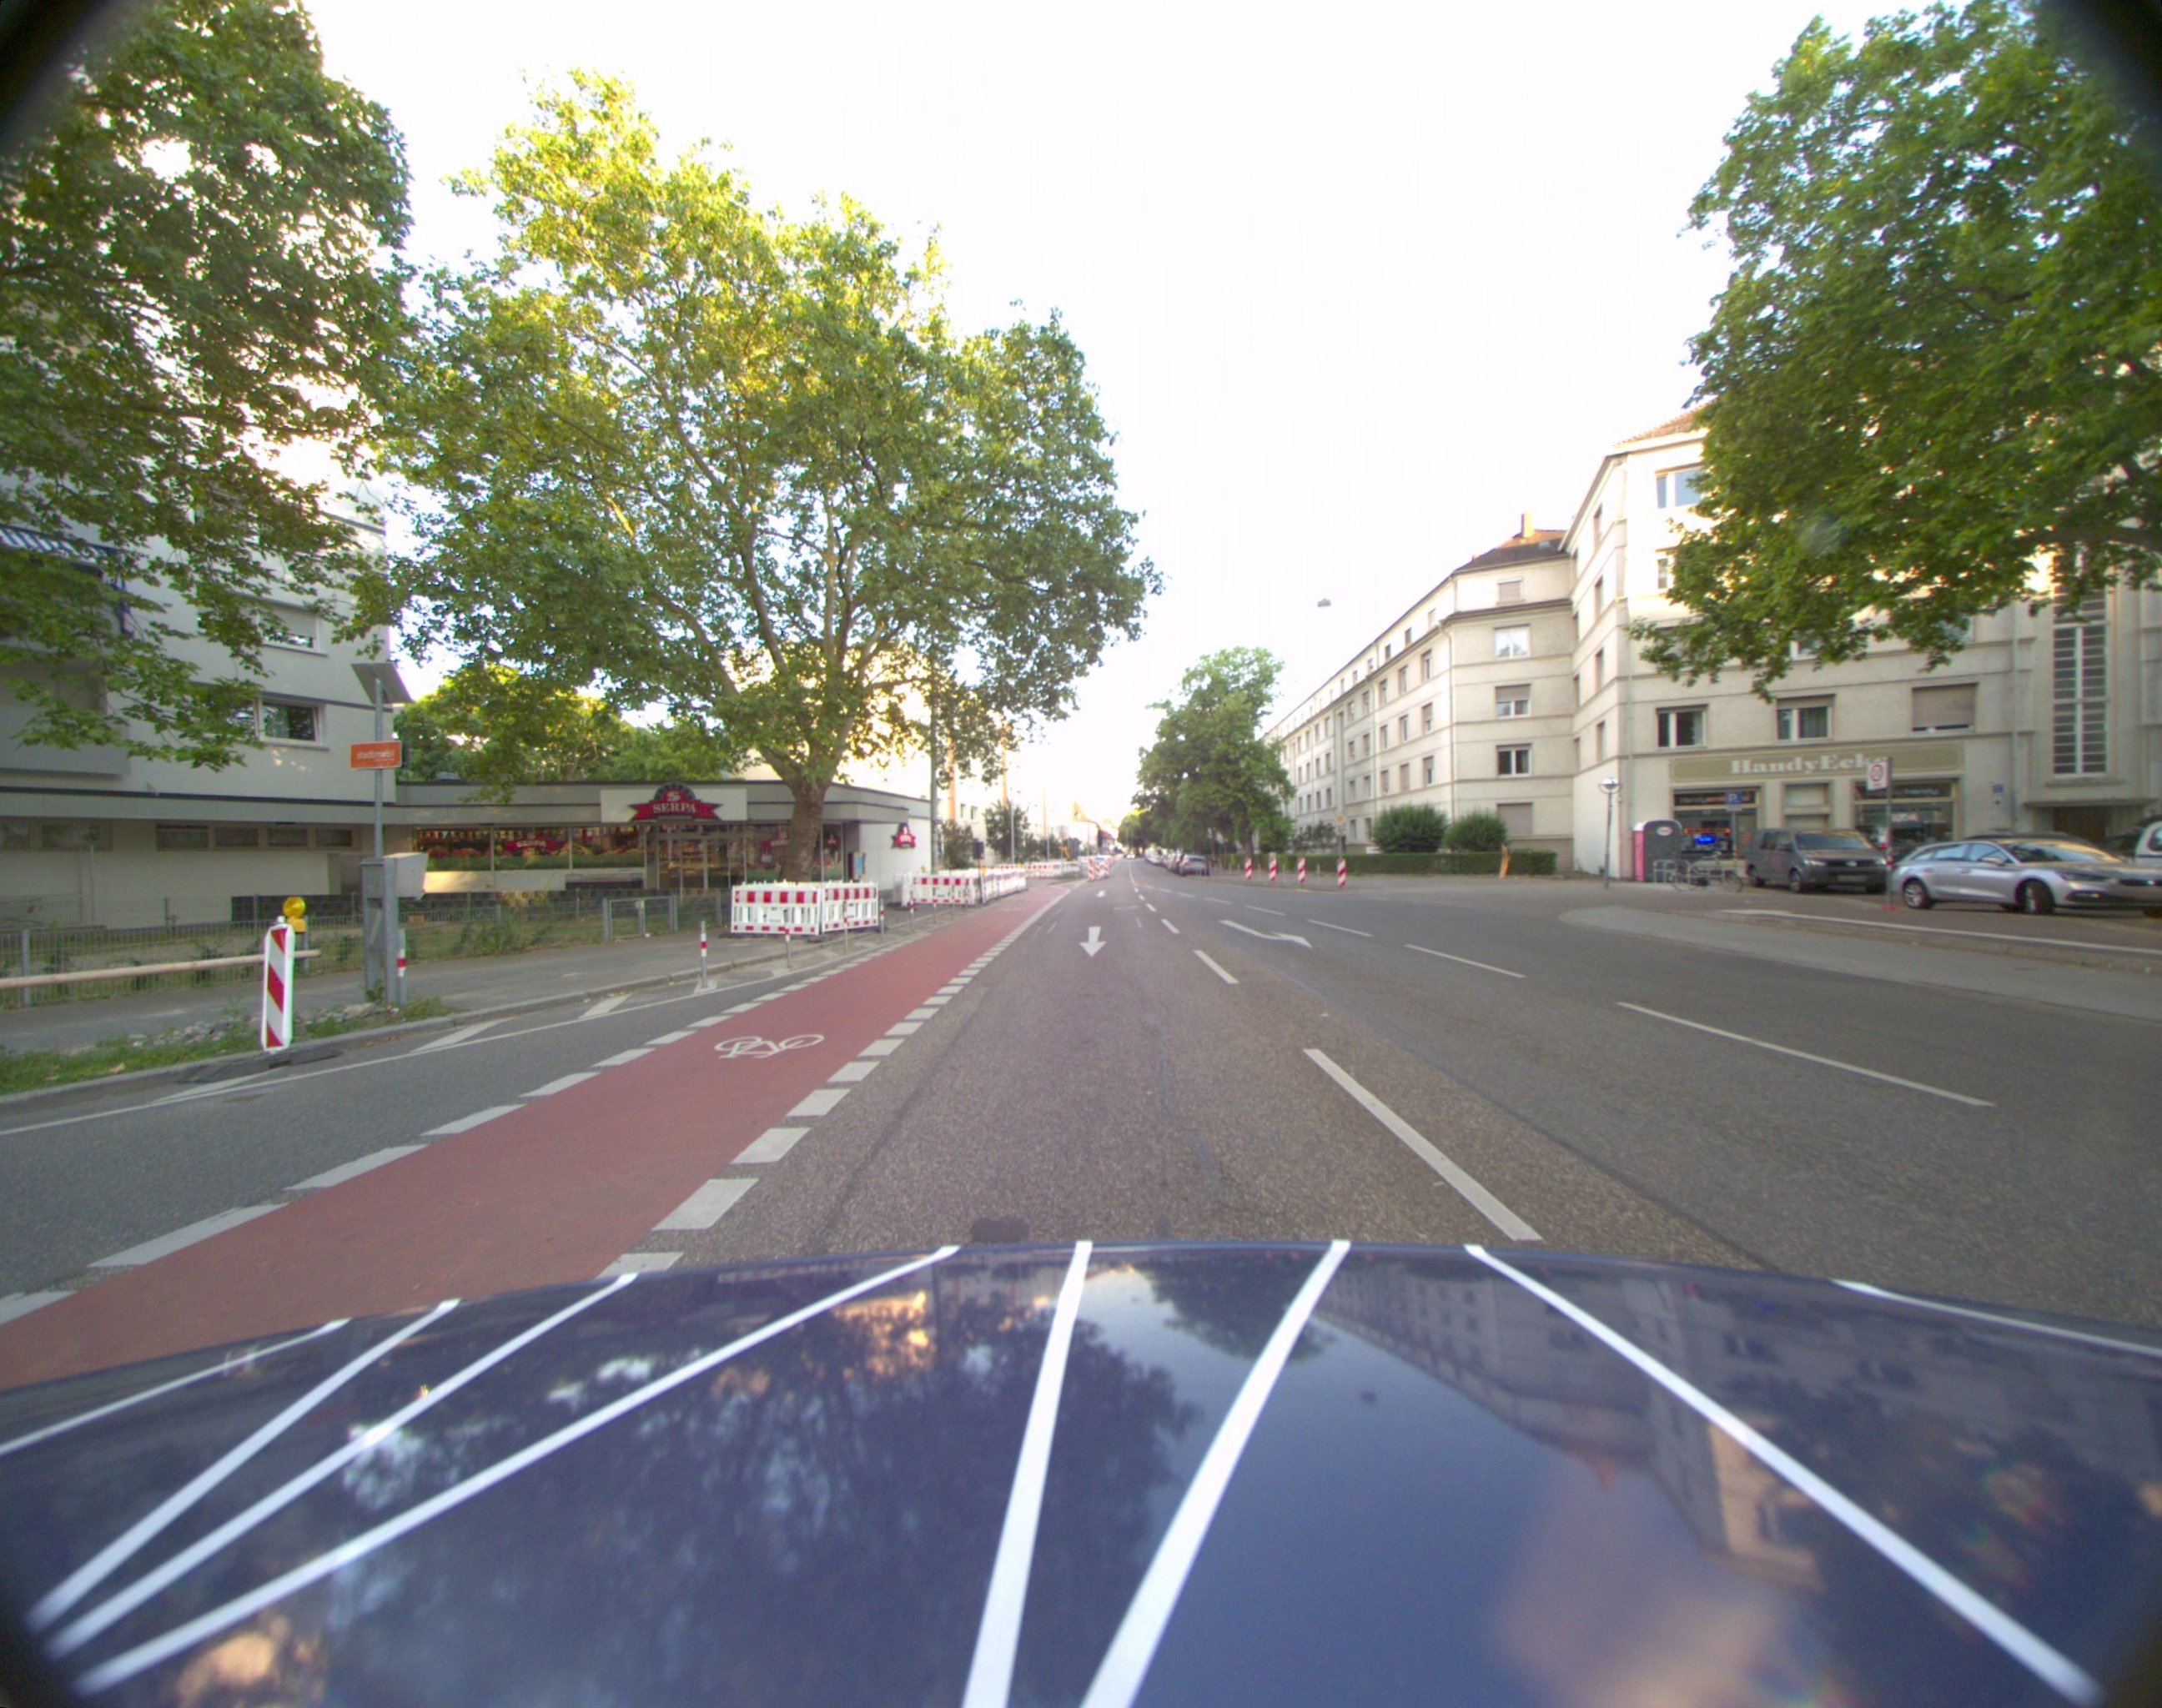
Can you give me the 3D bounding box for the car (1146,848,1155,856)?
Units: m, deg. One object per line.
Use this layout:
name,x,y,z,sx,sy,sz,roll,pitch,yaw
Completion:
car,15.198,-0.475,166.084,1.892,1.591,4.260,-2,1,6

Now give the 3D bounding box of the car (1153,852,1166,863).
car,12.118,0.488,117.878,1.892,1.591,4.260,-2,1,6

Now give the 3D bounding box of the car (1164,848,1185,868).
car,9.278,0.347,75.414,1.892,1.764,4.260,-2,1,6

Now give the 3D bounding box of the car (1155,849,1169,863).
car,11.548,0.322,108.206,1.892,1.855,4.260,-2,1,6

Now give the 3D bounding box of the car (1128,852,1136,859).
car,14.094,0.322,209.117,1.998,1.838,4.000,-2,1,2

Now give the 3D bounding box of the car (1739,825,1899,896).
car,22.610,0.095,23.558,1.995,1.945,4.646,0,3,23

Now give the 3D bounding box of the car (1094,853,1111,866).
car,2.883,0.753,101.039,1.892,1.591,4.260,-2,1,6

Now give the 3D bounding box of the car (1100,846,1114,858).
car,4.183,-0.348,121.839,1.892,1.651,4.260,-2,1,6

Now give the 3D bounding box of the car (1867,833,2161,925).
car,18.130,0.441,14.676,1.996,1.494,4.647,0,-1,15

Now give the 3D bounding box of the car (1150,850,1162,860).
car,13.134,0.160,132.800,1.892,1.591,4.260,-2,1,6

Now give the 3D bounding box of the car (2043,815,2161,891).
car,29.614,-0.081,20.832,1.995,1.945,4.646,0,3,23

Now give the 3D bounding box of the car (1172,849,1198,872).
car,8.487,0.526,62.194,1.892,1.681,4.260,-2,1,6

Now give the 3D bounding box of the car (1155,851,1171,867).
car,10.697,0.648,99.241,1.892,1.815,4.260,-2,1,6

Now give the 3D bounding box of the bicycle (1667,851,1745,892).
bicycle,19.399,0.542,23.616,1.802,1.199,0.648,-1,2,33

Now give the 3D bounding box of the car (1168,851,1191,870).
car,9.007,0.559,69.468,1.892,1.591,4.260,-2,1,6

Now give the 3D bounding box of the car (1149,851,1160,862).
car,13.848,0.477,143.083,1.892,1.868,4.946,-2,1,6

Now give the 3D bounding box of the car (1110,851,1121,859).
car,7.163,0.210,156.226,1.892,1.591,4.260,-2,1,6

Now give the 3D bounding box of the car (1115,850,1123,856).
car,9.768,-0.288,196.472,1.892,1.591,4.260,-2,1,6

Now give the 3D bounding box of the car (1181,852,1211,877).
car,8.117,0.728,53.905,1.892,1.591,4.001,-2,1,6

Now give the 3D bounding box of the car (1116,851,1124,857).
car,10.572,0.049,205.507,1.892,1.591,4.260,-2,1,6

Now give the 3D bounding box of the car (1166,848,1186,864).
car,10.116,0.173,80.936,1.892,1.591,4.260,-2,1,6

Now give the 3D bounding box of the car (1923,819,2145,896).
car,27.116,-0.006,21.920,1.995,1.945,4.646,0,3,23

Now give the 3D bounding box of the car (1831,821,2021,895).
car,24.965,0.012,22.736,1.995,1.945,4.646,0,3,23

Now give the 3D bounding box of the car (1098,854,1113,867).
car,3.694,0.929,113.326,1.892,1.726,4.260,-2,1,6

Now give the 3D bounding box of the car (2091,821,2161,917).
car,20.715,0.265,12.995,1.995,1.771,4.649,0,-1,21
